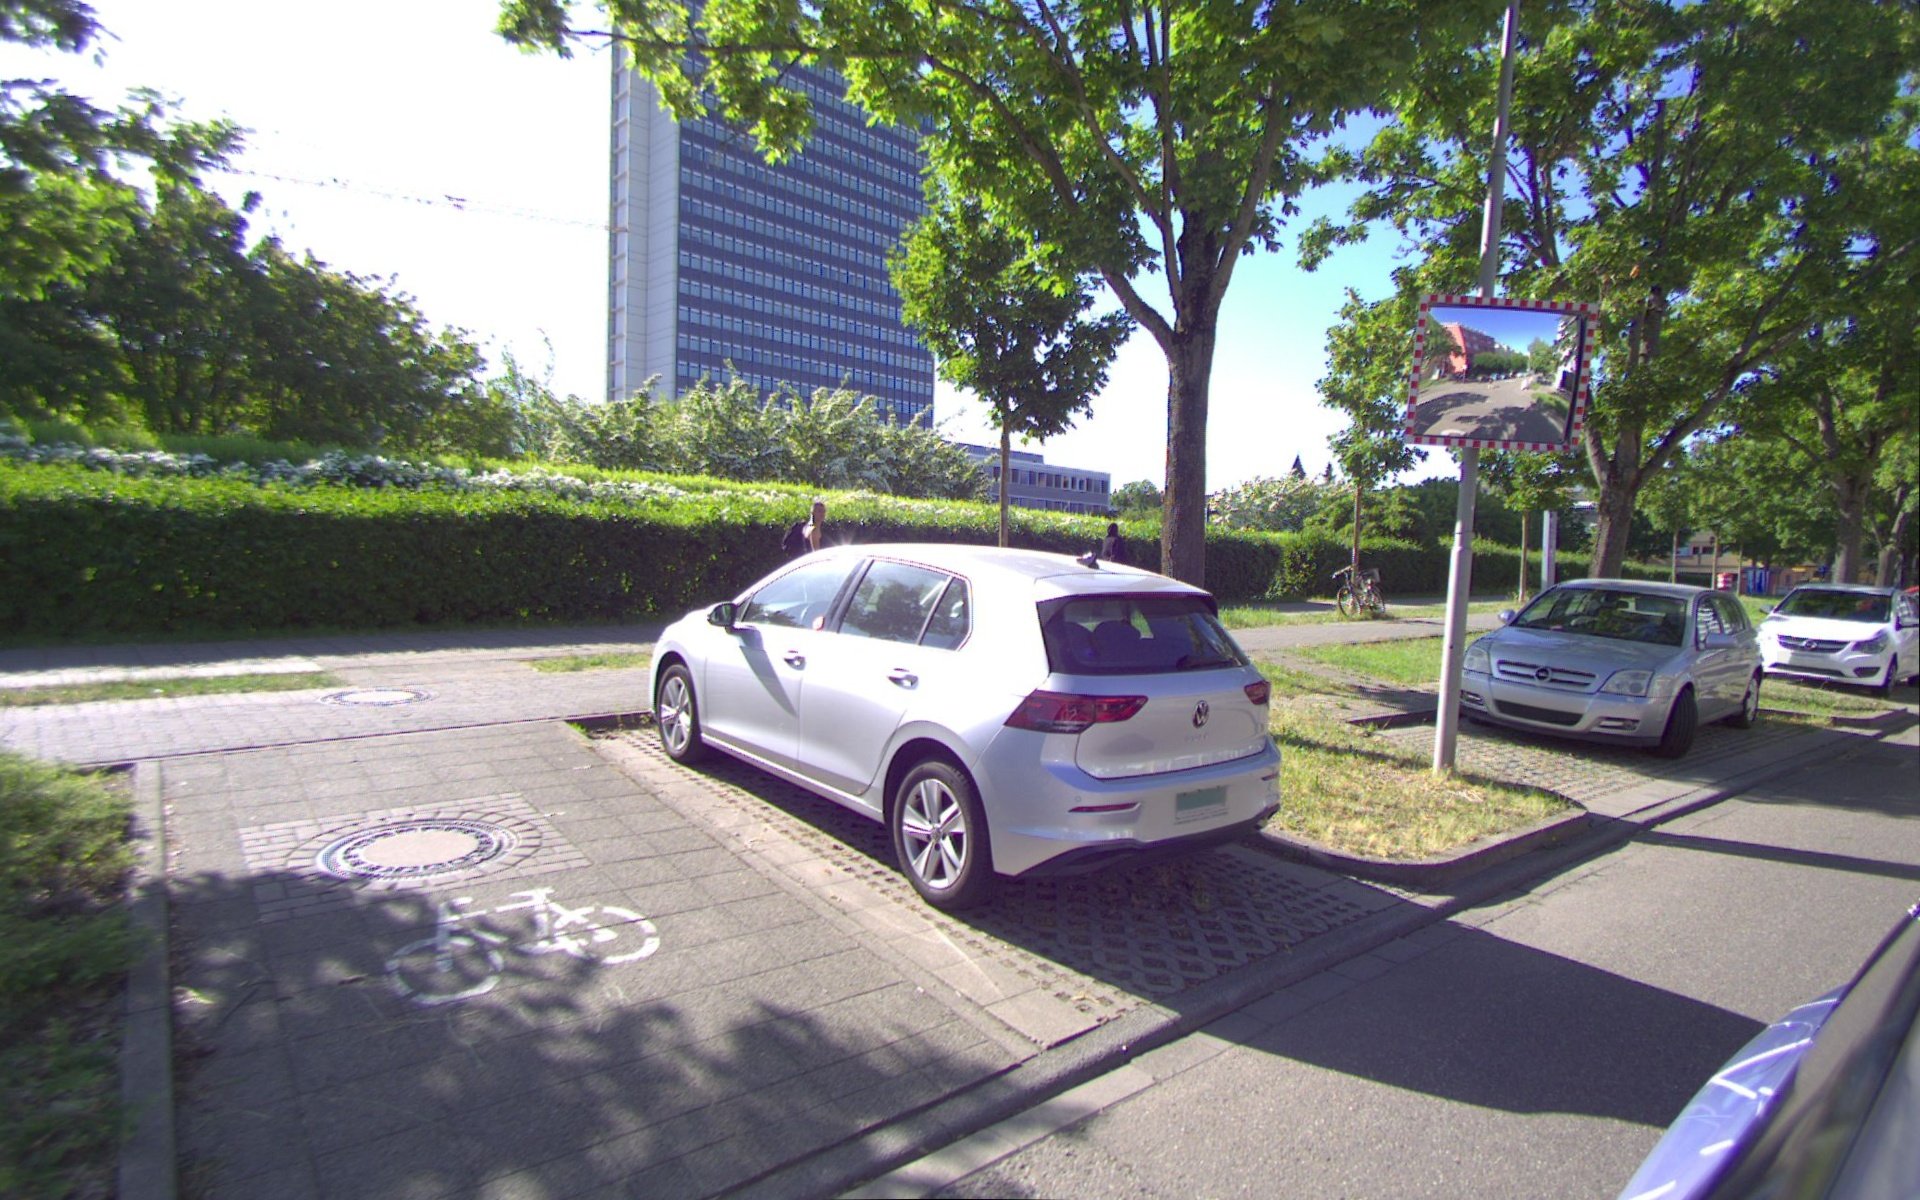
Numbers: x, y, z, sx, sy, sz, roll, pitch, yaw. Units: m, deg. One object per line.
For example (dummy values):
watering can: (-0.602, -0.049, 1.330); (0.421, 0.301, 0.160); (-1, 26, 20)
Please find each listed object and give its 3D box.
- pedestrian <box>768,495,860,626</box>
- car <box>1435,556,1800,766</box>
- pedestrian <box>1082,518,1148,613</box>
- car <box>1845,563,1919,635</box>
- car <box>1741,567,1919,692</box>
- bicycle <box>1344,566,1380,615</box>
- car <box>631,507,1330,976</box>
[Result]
pedestrian: (-1.811, -0.490, 12.601); (0.921, 1.561, 0.607); (-1, 3, -43)
car: (6.654, 0.412, 10.019); (4.545, 1.511, 1.813); (-1, 6, -42)
pedestrian: (2.690, -0.604, 17.537); (0.838, 1.607, 0.725); (-1, 3, -43)
car: (22.952, 0.073, 23.298); (1.595, 1.562, 3.452); (0, 6, -31)
car: (13.141, 0.348, 14.862); (3.696, 1.511, 1.649); (0, 6, -37)
bicycle: (7.750, -0.193, 19.486); (0.345, 0.877, 1.393); (4, 4, 33)
car: (-0.299, 0.342, 5.602); (1.612, 1.445, 4.105); (-1, 7, -37)
